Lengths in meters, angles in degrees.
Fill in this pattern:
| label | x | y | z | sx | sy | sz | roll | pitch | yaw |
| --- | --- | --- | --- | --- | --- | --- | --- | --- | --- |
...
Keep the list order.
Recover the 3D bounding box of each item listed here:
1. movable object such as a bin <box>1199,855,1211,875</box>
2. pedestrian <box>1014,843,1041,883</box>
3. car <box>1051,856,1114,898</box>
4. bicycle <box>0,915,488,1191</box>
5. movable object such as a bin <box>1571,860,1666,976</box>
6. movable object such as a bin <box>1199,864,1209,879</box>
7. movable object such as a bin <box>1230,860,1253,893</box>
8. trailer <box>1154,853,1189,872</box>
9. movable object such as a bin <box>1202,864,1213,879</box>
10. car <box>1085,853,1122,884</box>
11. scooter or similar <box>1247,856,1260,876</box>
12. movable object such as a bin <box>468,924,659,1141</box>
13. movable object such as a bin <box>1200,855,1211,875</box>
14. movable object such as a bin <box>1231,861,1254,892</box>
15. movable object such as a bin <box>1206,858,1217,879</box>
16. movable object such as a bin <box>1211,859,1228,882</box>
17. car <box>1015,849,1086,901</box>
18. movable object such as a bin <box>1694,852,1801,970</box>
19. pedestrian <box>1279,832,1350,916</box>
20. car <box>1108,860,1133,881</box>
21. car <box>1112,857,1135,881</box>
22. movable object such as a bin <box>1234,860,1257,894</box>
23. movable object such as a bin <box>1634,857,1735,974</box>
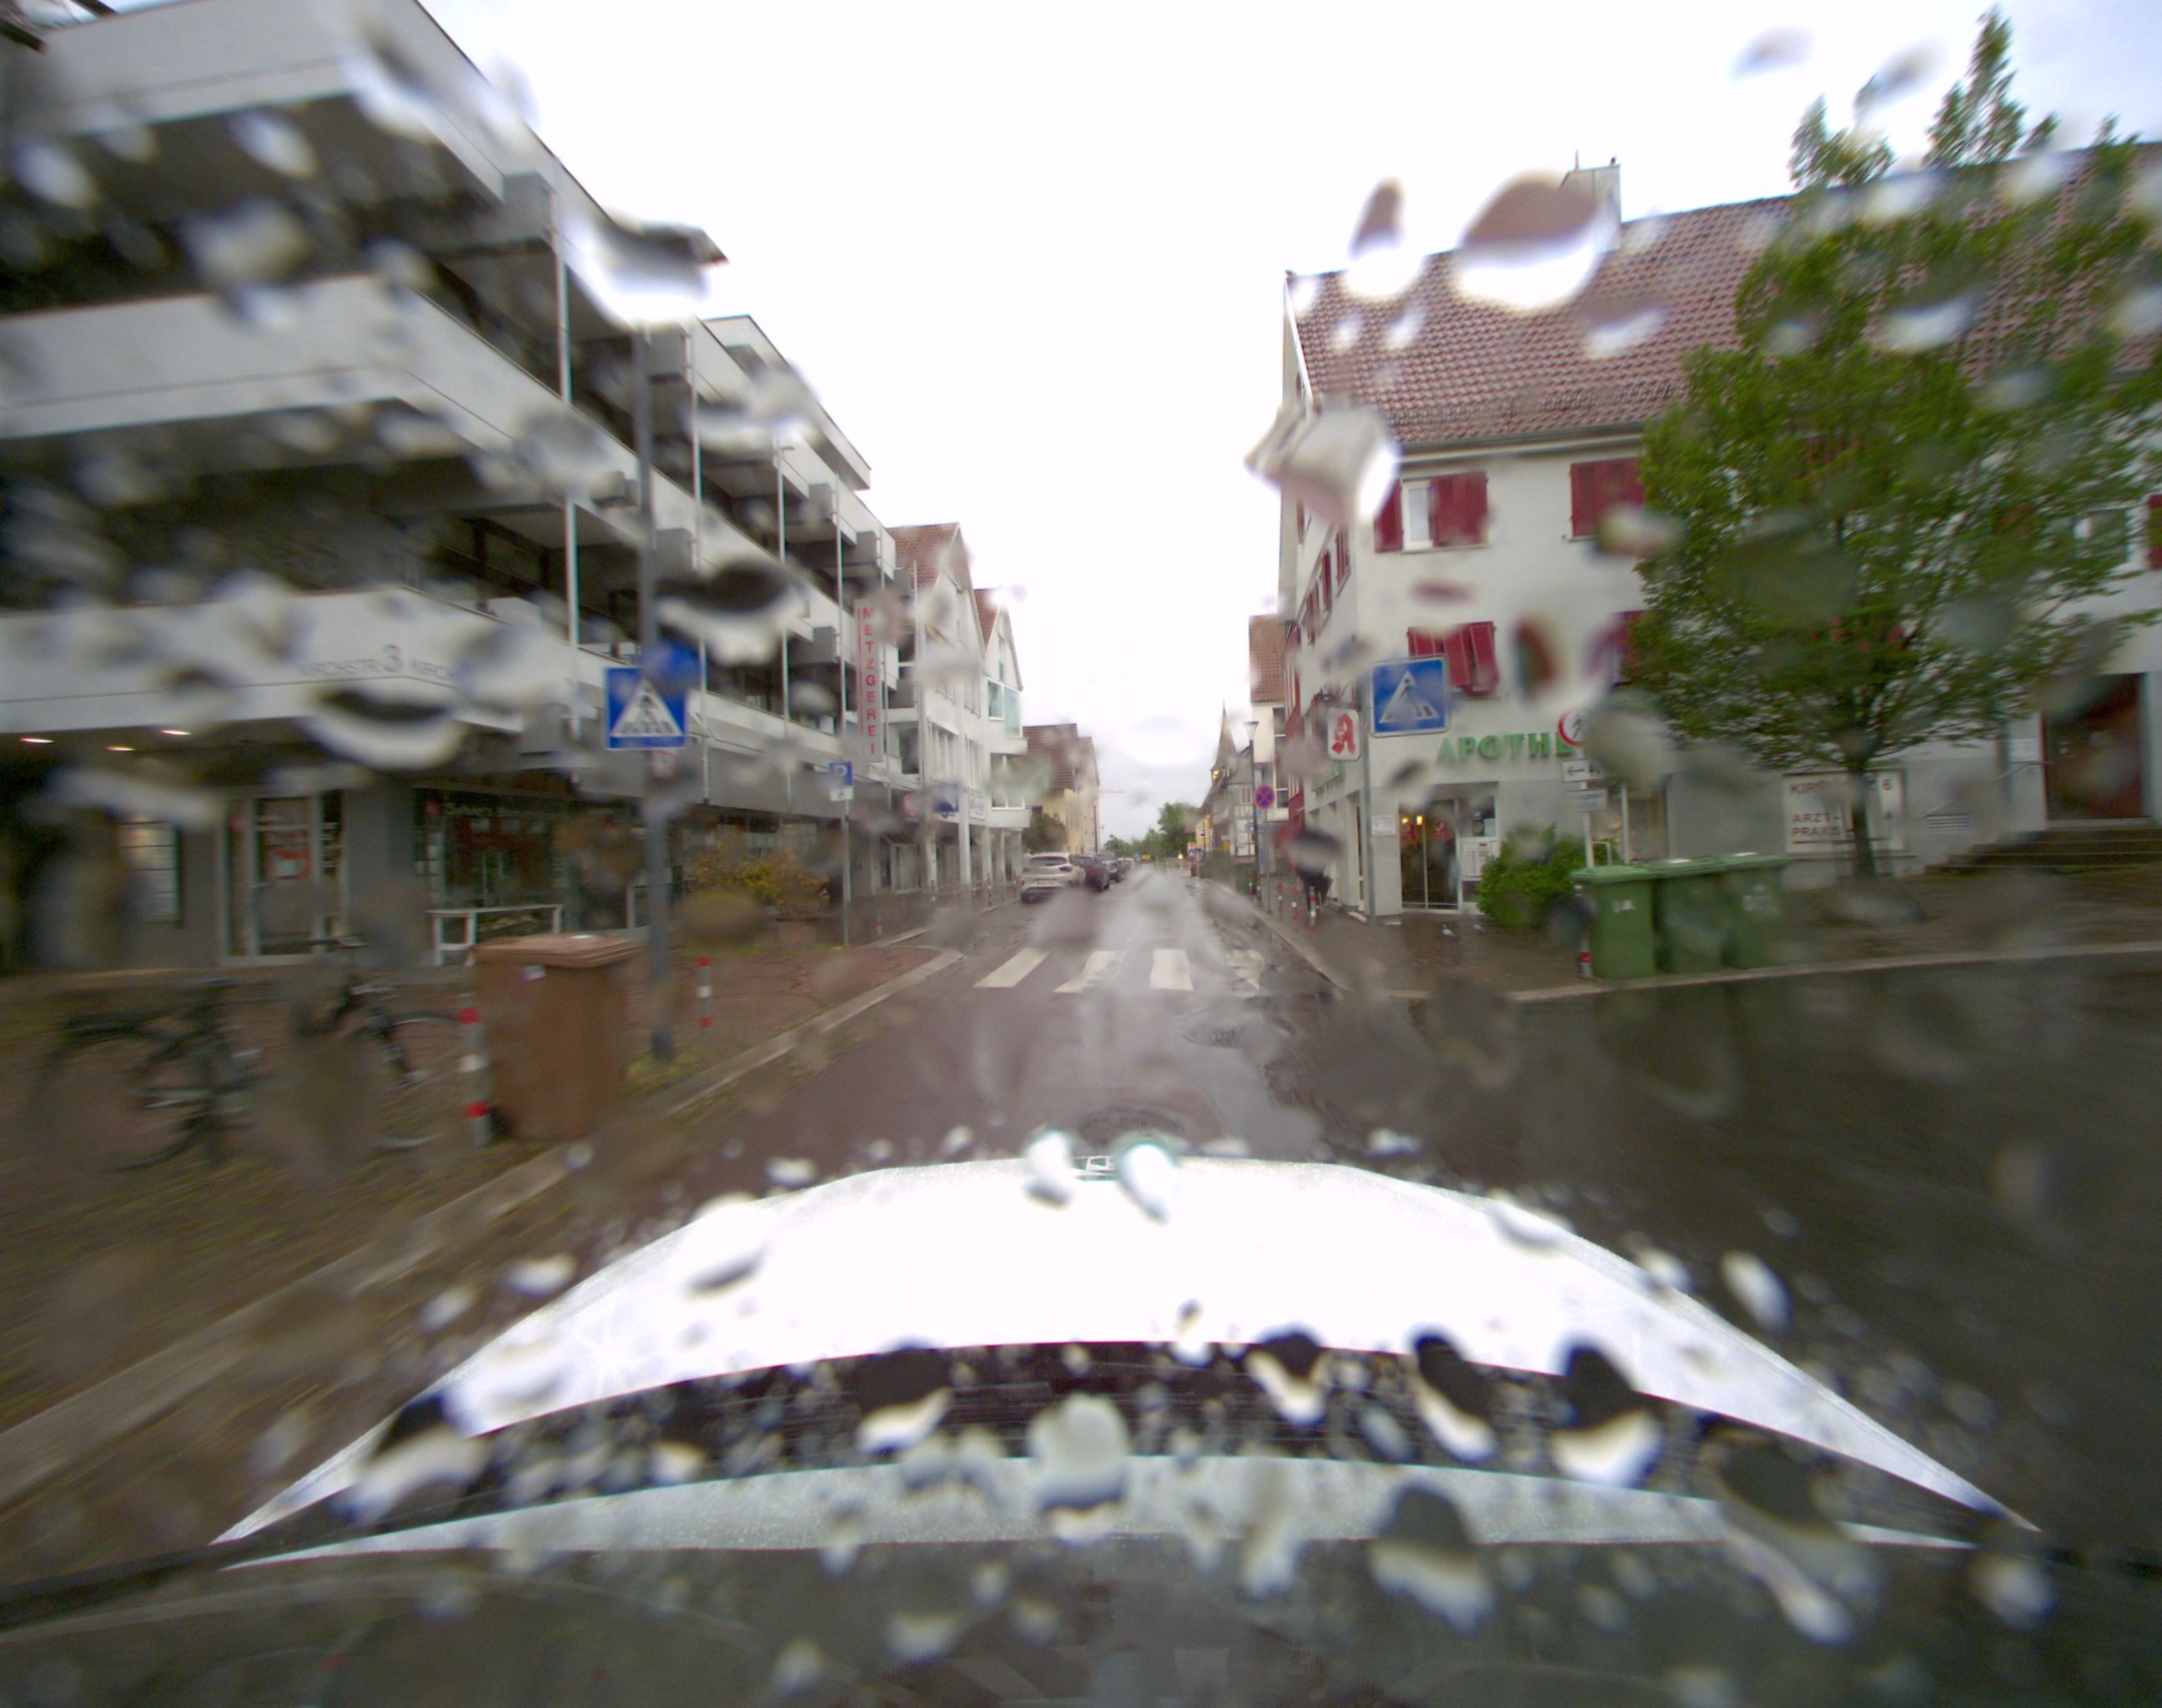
| label | x | y | z | sx | sy | sz | roll | pitch | yaw |
| --- | --- | --- | --- | --- | --- | --- | --- | --- | --- |
| movable object such as a bin | 7.934 | 0.709 | 52.090 | 0.634 | 1.290 | 0.634 | -2 | -2 | 11 |
| pedestrian | -2.461 | 0.415 | 37.622 | 1.030 | 1.806 | 1.118 | -1 | -1 | 6 |
| car | 0.153 | 0.861 | 32.842 | 1.820 | 1.498 | 4.773 | -3 | -1 | 8 |
| bicycle | -4.102 | 0.929 | 4.109 | 1.748 | 1.164 | 0.442 | -1 | -2 | -14 |
| movable object such as a bin | 5.165 | 0.604 | 7.851 | 0.498 | 1.056 | 0.549 | -4 | -2 | 6 |
| movable object such as a bin | 9.371 | 1.355 | 62.080 | 0.634 | 1.147 | 0.605 | -2 | -2 | 11 |
| movable object such as a bin | 5.435 | 0.767 | 27.604 | 0.672 | 1.084 | 0.699 | -2 | -1 | 8 |
| trailer | 15.624 | 1.493 | 141.141 | 5.760 | 2.948 | 2.000 | -2 | -2 | 1 |
| movable object such as a bin | 9.259 | 1.295 | 59.526 | 0.675 | 1.097 | 0.651 | -1 | -2 | 2 |
| car | 1.308 | 0.823 | 45.270 | 1.771 | 1.569 | 4.413 | -2 | -2 | 5 |
| scooter or similar | 9.995 | 0.715 | 47.206 | 0.660 | 1.146 | 1.451 | -2 | -2 | 13 |
| movable object such as a bin | -2.825 | 0.938 | 4.511 | 0.687 | 1.020 | 0.629 | -1 | -1 | -11 |
| movable object such as a bin | 8.095 | 0.717 | 52.851 | 0.634 | 1.290 | 0.634 | -2 | -2 | 11 |
| movable object such as a bin | 5.739 | 0.787 | 28.950 | 0.725 | 1.081 | 0.648 | -2 | -1 | 8 |
| movable object such as a bin | 8.215 | 0.921 | 51.374 | 0.634 | 1.290 | 0.634 | -2 | -2 | 11 |
| movable object such as a bin | 7.218 | 0.859 | 42.456 | 0.800 | 1.131 | 0.863 | -2 | -2 | 5 |
| car | -0.915 | 0.676 | 26.633 | 1.782 | 1.551 | 4.006 | -1 | -1 | 6 |
| movable object such as a bin | 6.336 | 0.532 | 7.771 | 0.498 | 1.056 | 0.549 | -4 | -2 | 6 |
| pedestrian | 5.062 | 0.430 | 17.723 | 1.172 | 1.697 | 1.178 | -3 | -1 | 3 |
| car | 2.864 | 1.225 | 58.334 | 1.674 | 1.389 | 3.828 | -2 | -2 | 3 |
| car | 3.376 | 1.208 | 64.065 | 1.716 | 1.825 | 4.432 | -2 | -2 | 4 |
| movable object such as a bin | 5.416 | 0.748 | 26.838 | 0.672 | 1.086 | 0.719 | -2 | -1 | 8 |
| movable object such as a bin | 5.776 | 0.580 | 7.826 | 0.498 | 1.056 | 0.549 | -4 | -2 | 6 |
